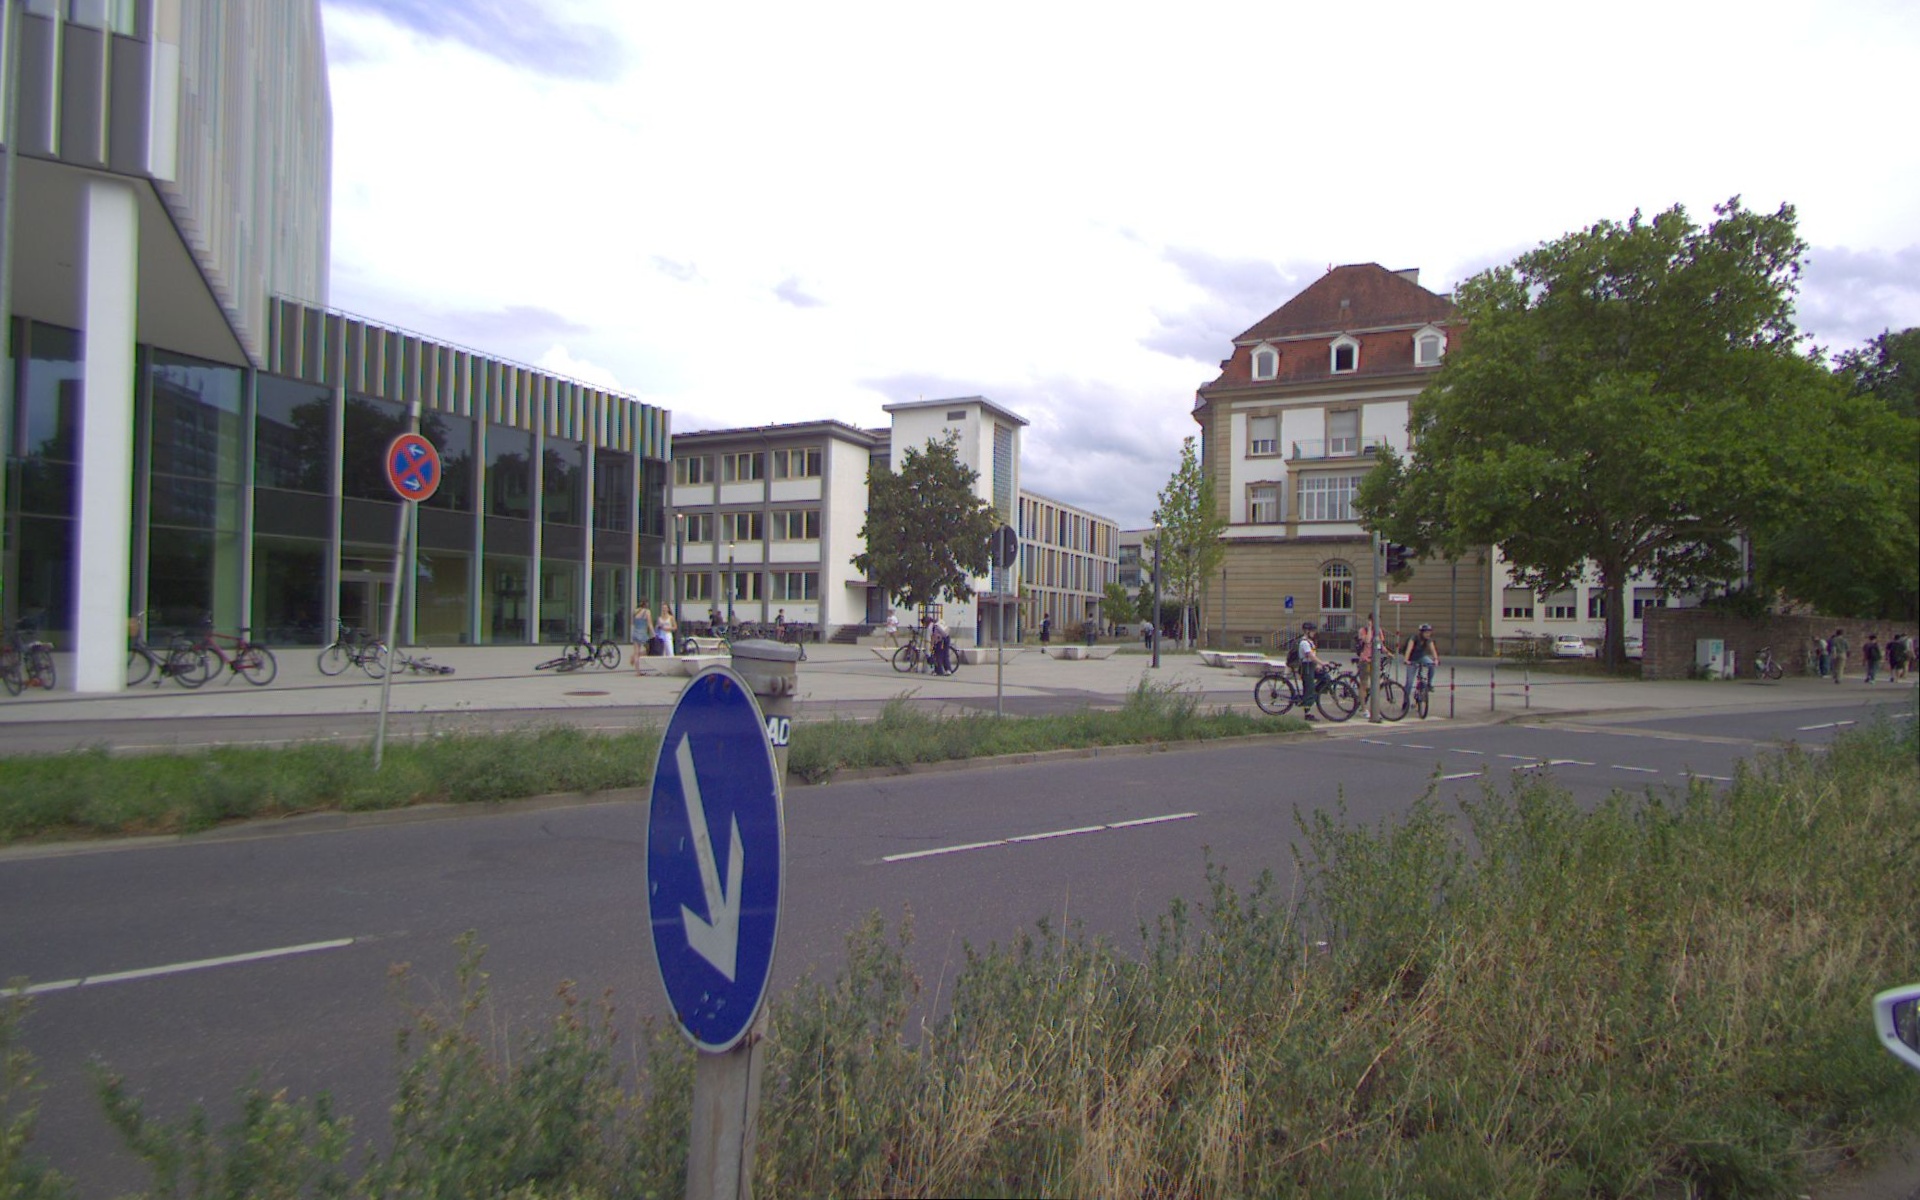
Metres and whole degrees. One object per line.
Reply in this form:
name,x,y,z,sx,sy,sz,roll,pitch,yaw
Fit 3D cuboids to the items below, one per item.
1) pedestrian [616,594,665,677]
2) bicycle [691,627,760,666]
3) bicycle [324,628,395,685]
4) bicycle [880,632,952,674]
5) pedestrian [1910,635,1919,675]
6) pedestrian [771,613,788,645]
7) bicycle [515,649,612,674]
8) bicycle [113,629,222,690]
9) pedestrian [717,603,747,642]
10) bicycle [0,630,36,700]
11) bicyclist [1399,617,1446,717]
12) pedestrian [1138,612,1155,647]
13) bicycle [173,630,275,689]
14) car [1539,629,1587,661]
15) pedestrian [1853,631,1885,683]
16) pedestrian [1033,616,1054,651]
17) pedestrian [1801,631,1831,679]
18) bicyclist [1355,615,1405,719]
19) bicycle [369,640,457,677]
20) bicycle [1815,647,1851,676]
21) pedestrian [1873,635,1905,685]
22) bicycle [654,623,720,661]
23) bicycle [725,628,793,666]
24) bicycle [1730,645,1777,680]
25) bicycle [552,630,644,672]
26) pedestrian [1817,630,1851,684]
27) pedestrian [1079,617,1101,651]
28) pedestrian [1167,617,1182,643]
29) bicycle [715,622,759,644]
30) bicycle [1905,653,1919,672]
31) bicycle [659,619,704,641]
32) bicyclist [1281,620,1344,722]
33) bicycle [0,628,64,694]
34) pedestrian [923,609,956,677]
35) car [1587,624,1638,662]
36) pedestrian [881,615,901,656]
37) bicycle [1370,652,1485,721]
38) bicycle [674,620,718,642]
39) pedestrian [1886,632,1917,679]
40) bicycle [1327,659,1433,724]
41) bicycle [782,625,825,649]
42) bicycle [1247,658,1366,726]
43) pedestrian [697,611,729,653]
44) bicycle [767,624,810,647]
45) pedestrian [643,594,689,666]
pedestrian,-7.007,0.768,22.027,0.717,1.763,0.678,1,-1,27
bicycle,-7.142,1.404,30.536,0.792,1.104,2.648,2,-2,-44
bicycle,-12.125,1.121,20.281,1.517,1.043,0.394,2,1,24
bicycle,-1.065,1.295,24.675,1.726,1.012,0.437,2,-1,-27
pedestrian,43.562,2.514,45.422,0.749,1.805,0.781,1,-2,35
pedestrian,-9.052,1.441,50.363,0.644,1.569,0.599,1,-1,13
bicycle,-9.557,1.476,24.211,2.205,0.528,0.624,1,-1,13
bicycle,-13.412,1.000,17.016,1.566,0.950,0.394,2,1,4
pedestrian,-11.448,1.132,50.354,1.051,1.956,0.974,1,-1,27
bicycle,-14.589,0.961,15.191,1.581,0.950,0.393,2,1,28
bicyclist,8.748,1.252,19.005,0.558,1.831,0.594,2,0,-43
pedestrian,10.920,1.714,58.709,0.779,2.040,0.835,1,-1,25
bicycle,-13.156,1.057,17.963,1.566,0.950,0.394,2,1,4
car,34.758,2.572,57.982,1.874,1.774,3.998,1,-2,23
pedestrian,32.712,2.045,36.157,0.748,1.805,0.782,1,-2,34
pedestrian,3.733,1.490,44.706,0.648,1.569,0.706,2,-1,-23
pedestrian,32.807,2.102,38.502,0.733,1.805,0.783,1,-2,29
bicyclist,7.599,1.201,18.176,0.558,1.831,0.594,2,0,-43
bicycle,-11.803,1.252,21.680,1.759,0.682,0.394,2,0,8
bicycle,34.799,2.444,40.019,1.960,1.072,0.545,2,2,-34
pedestrian,34.471,2.209,37.280,0.749,1.805,0.781,1,-2,35
bicycle,-7.954,1.198,29.179,0.669,1.012,2.648,2,-2,-44
bicycle,-6.306,1.443,31.366,0.792,1.104,2.648,2,-2,-44
bicycle,27.976,2.198,35.402,2.141,1.141,0.574,2,2,-32
bicycle,-9.256,1.299,25.692,2.205,0.998,0.624,1,-1,13
pedestrian,30.003,1.954,34.496,0.734,1.805,0.782,1,-2,31
pedestrian,6.034,1.582,46.627,0.725,1.569,0.700,2,-1,-23
pedestrian,17.182,2.405,80.280,0.900,2.040,1.231,1,-1,25
bicycle,-11.791,1.737,53.238,0.732,1.149,2.671,1,-1,26
bicycle,45.817,2.981,48.133,1.605,0.807,0.437,1,1,-36
bicycle,-15.205,1.632,54.934,0.732,1.149,2.671,1,-1,26
bicyclist,6.081,1.205,17.320,0.719,1.695,0.719,2,0,-43
bicycle,-15.118,0.970,16.257,1.568,0.950,0.393,2,1,28
pedestrian,-0.491,1.023,24.135,0.566,1.602,0.649,2,-1,-24
car,36.563,2.401,56.389,1.752,2.040,3.998,1,-1,24
pedestrian,-3.058,1.562,44.532,0.624,1.802,0.596,1,-1,24
bicycle,8.777,1.600,18.923,0.603,1.185,1.871,2,-2,-44
bicycle,-14.215,1.660,54.200,0.732,1.149,2.671,1,-1,26
pedestrian,37.120,2.195,39.612,0.749,1.805,0.912,1,-2,35
bicycle,7.579,1.629,18.183,0.567,1.002,1.671,2,0,-43
bicycle,-7.922,1.852,50.924,0.732,1.149,2.671,1,-1,26
bicycle,5.985,1.564,17.412,0.723,1.002,1.799,2,0,-43
pedestrian,-12.010,1.558,48.890,1.051,1.956,0.974,2,0,27
bicycle,-8.818,1.829,51.783,0.732,1.149,2.671,1,-1,26
pedestrian,-6.755,0.687,23.061,0.717,1.621,0.677,1,-1,30
